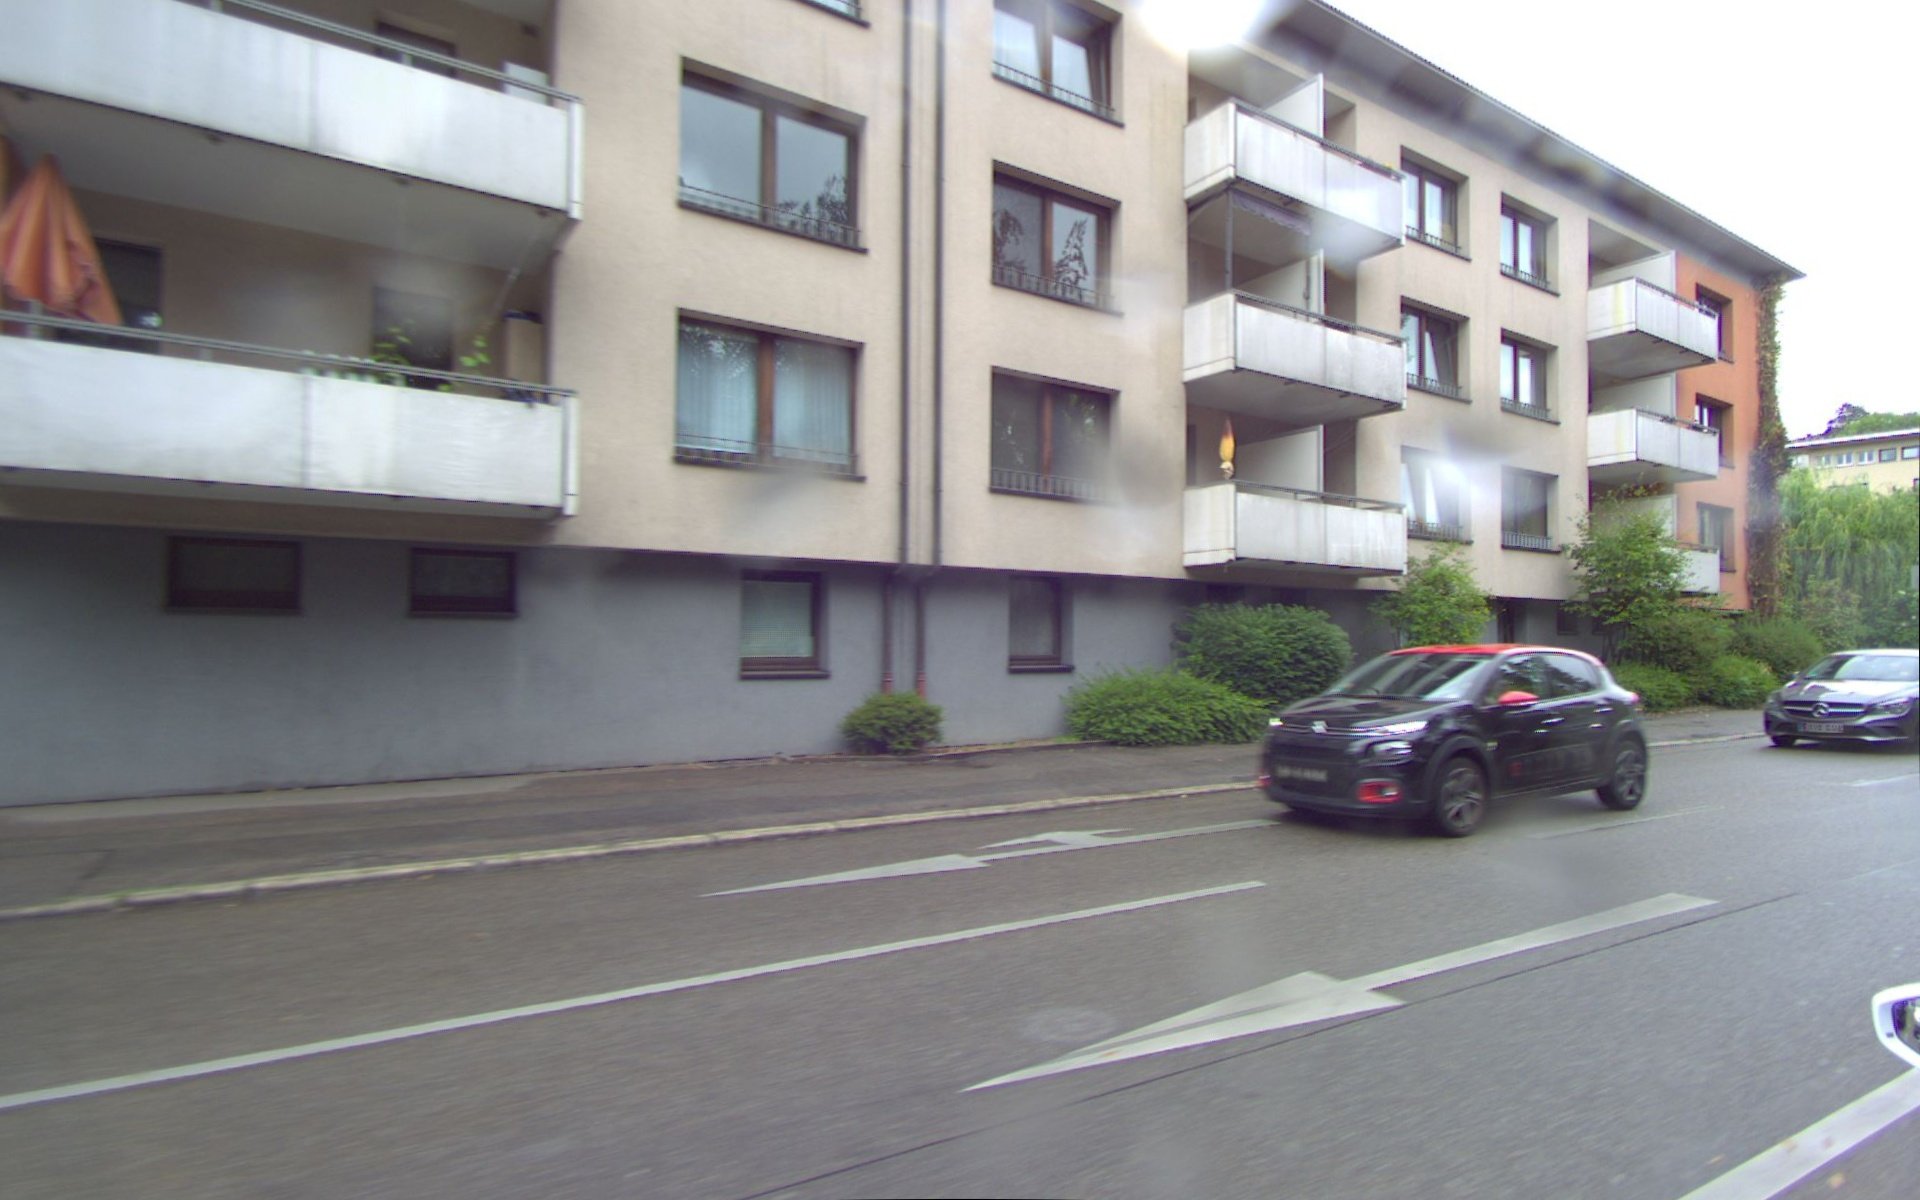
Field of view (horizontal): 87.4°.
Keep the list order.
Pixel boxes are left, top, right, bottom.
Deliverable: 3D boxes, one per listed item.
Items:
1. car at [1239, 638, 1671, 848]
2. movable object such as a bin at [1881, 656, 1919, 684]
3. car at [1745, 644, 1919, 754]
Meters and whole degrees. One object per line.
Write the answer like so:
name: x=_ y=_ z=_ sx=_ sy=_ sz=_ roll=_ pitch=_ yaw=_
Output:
car: x=4.533 y=1.126 z=9.094 sx=3.845 sy=1.511 sz=1.679 roll=1 pitch=-3 yaw=-31
movable object such as a bin: x=30.808 y=2.266 z=32.737 sx=0.823 sy=0.888 sz=0.961 roll=2 pitch=-3 yaw=-30
car: x=14.117 y=1.408 z=15.369 sx=4.629 sy=1.434 sz=1.804 roll=1 pitch=-3 yaw=-32
